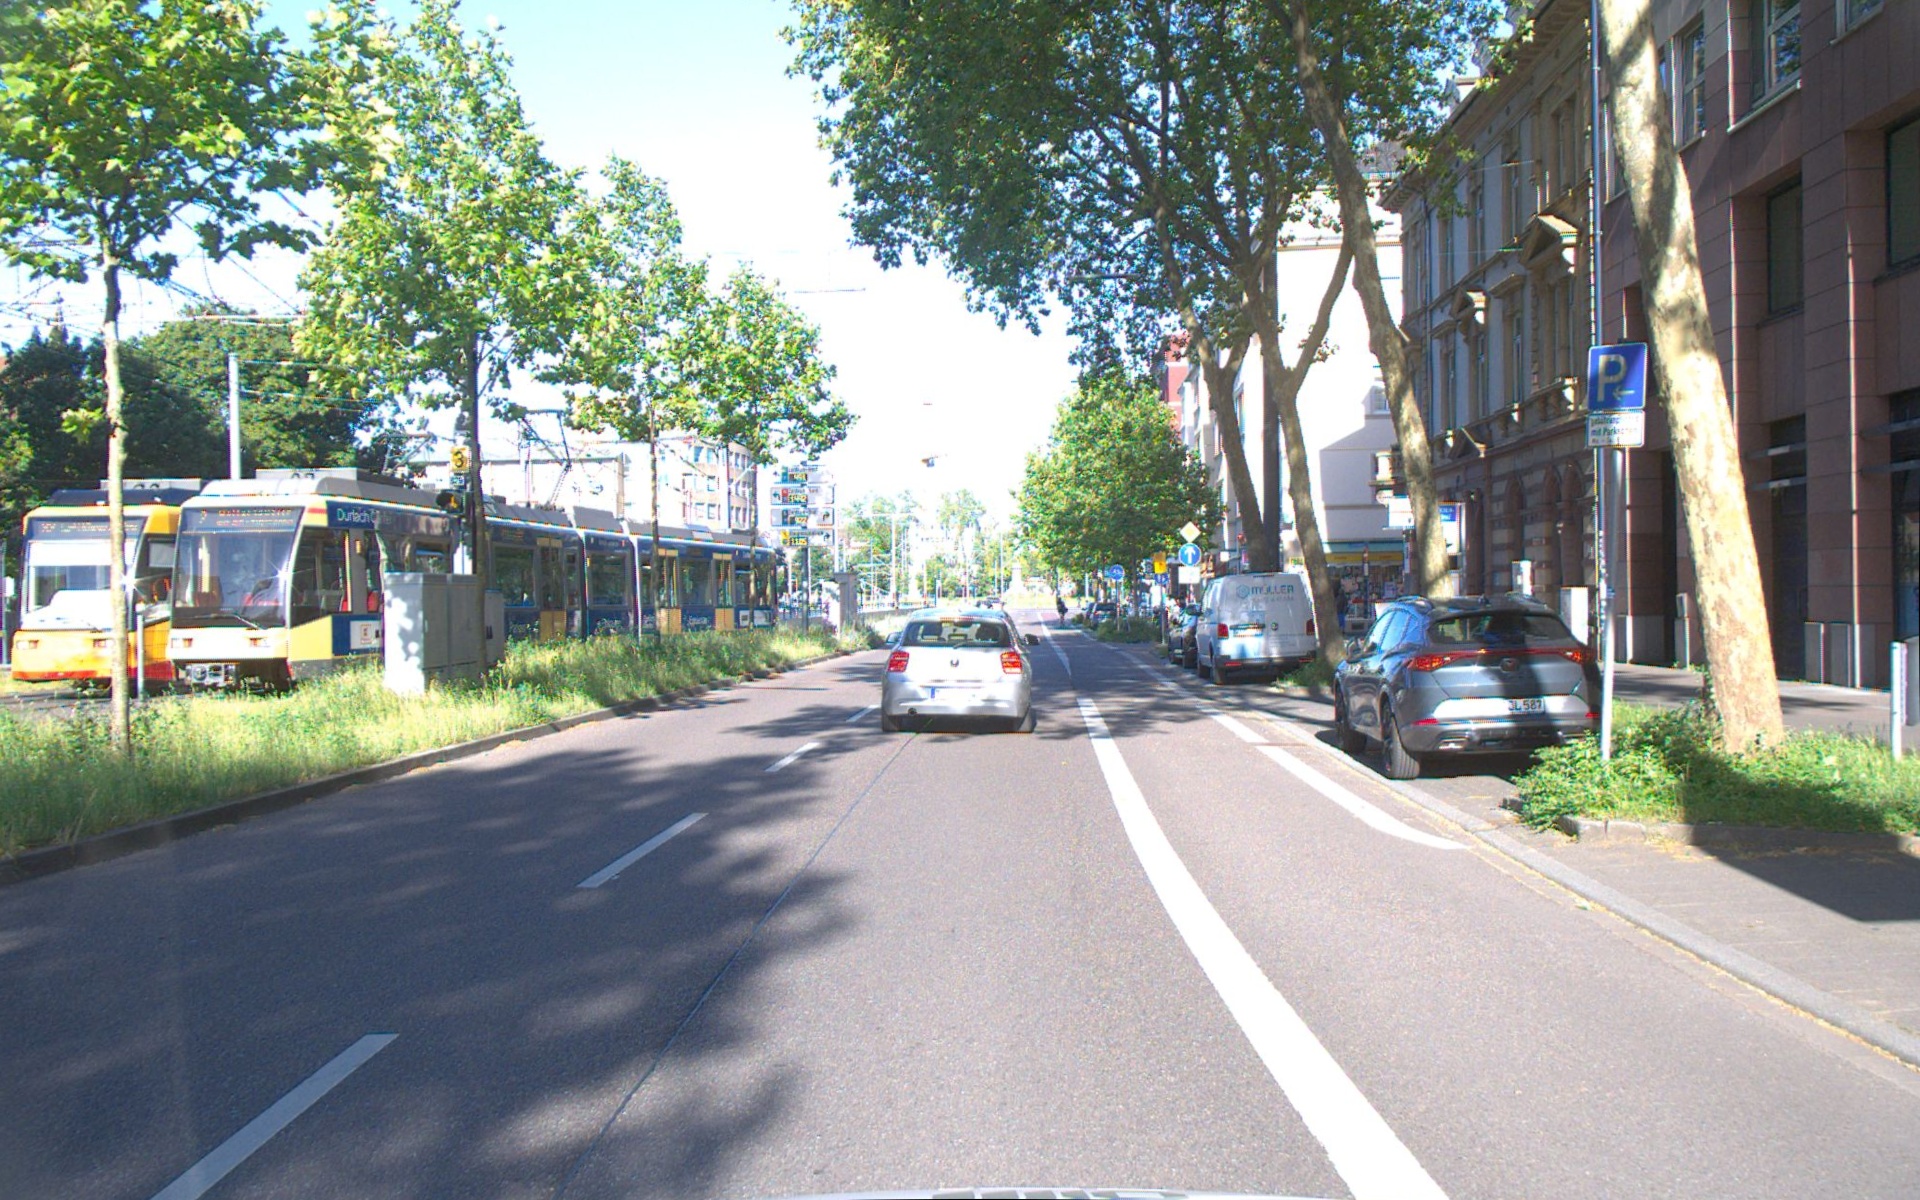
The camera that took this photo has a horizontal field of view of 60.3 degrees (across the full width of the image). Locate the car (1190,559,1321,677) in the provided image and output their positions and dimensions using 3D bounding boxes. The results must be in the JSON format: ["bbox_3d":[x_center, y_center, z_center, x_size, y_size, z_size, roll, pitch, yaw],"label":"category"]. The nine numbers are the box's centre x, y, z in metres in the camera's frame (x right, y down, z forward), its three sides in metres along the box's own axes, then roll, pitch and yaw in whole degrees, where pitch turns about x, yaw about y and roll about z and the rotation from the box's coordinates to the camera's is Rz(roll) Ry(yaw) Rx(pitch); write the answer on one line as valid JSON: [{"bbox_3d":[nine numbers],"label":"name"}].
[{"bbox_3d":[5.555,0.323,31.587,1.817,2.049,4.725,1,0,2],"label":"car"}]

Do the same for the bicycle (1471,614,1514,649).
[{"bbox_3d":[12.874,0.758,40.010,0.537,0.787,1.663,-2,0,2],"label":"bicycle"}]

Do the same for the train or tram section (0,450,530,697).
[{"bbox_3d":[-13.341,-0.434,34.469,2.902,3.544,21.220,0,0,1],"label":"train or tram section"}]

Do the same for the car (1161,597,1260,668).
[{"bbox_3d":[5.877,0.733,39.321,1.780,1.541,4.709,1,0,2],"label":"car"}]

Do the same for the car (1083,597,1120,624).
[{"bbox_3d":[8.346,0.595,97.956,1.996,1.535,4.595,-1,0,2],"label":"car"}]

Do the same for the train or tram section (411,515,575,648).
[{"bbox_3d":[-13.202,-0.517,47.320,2.895,3.544,6.060,0,0,0],"label":"train or tram section"}]

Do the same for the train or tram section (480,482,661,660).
[{"bbox_3d":[-9.090,-0.657,38.983,2.892,3.965,3.869,1,0,8],"label":"train or tram section"}]

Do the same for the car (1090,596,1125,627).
[{"bbox_3d":[8.042,0.597,90.250,1.659,1.528,3.802,-3,0,2],"label":"car"}]

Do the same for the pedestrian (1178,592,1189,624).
[{"bbox_3d":[12.453,0.451,92.161,0.546,1.741,0.770,-1,0,2],"label":"pedestrian"}]

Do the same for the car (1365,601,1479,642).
[{"bbox_3d":[17.204,0.791,61.696,3.856,1.500,1.667,0,0,6],"label":"car"}]

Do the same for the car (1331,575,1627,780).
[{"bbox_3d":[4.607,0.620,15.304,1.633,1.598,4.282,1,0,4],"label":"car"}]

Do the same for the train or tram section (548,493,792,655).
[{"bbox_3d":[-7.727,-0.627,46.156,2.889,3.965,10.811,1,0,12],"label":"train or tram section"}]

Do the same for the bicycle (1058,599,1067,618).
[{"bbox_3d":[6.111,0.491,98.781,0.489,1.107,1.998,1,0,3],"label":"bicycle"}]

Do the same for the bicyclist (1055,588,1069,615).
[{"bbox_3d":[6.104,0.095,98.898,0.769,1.558,0.895,1,0,2],"label":"bicyclist"}]

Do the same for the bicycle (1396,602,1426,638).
[{"bbox_3d":[12.927,0.552,47.456,0.406,1.015,1.883,0,0,2],"label":"bicycle"}]

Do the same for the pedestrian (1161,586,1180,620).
[{"bbox_3d":[10.915,0.148,85.864,0.841,1.734,0.917,-1,0,0],"label":"pedestrian"}]

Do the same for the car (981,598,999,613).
[{"bbox_3d":[2.794,0.505,154.490,1.610,1.446,4.001,0,0,3],"label":"car"}]

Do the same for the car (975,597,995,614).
[{"bbox_3d":[2.234,0.512,146.435,1.691,1.496,4.410,0,0,0],"label":"car"}]

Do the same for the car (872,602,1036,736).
[{"bbox_3d":[0.022,0.763,20.206,1.760,1.439,4.001,-1,0,3],"label":"car"}]

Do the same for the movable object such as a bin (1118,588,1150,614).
[{"bbox_3d":[13.336,0.059,127.074,1.906,1.875,3.478,-1,1,-3],"label":"movable object such as a bin"}]

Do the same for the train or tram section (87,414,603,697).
[{"bbox_3d":[-10.056,-0.611,29.995,2.867,3.879,14.281,1,0,5],"label":"train or tram section"}]

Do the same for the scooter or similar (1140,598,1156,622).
[{"bbox_3d":[9.523,0.500,83.605,0.371,1.217,1.575,-1,0,22],"label":"scooter or similar"}]
